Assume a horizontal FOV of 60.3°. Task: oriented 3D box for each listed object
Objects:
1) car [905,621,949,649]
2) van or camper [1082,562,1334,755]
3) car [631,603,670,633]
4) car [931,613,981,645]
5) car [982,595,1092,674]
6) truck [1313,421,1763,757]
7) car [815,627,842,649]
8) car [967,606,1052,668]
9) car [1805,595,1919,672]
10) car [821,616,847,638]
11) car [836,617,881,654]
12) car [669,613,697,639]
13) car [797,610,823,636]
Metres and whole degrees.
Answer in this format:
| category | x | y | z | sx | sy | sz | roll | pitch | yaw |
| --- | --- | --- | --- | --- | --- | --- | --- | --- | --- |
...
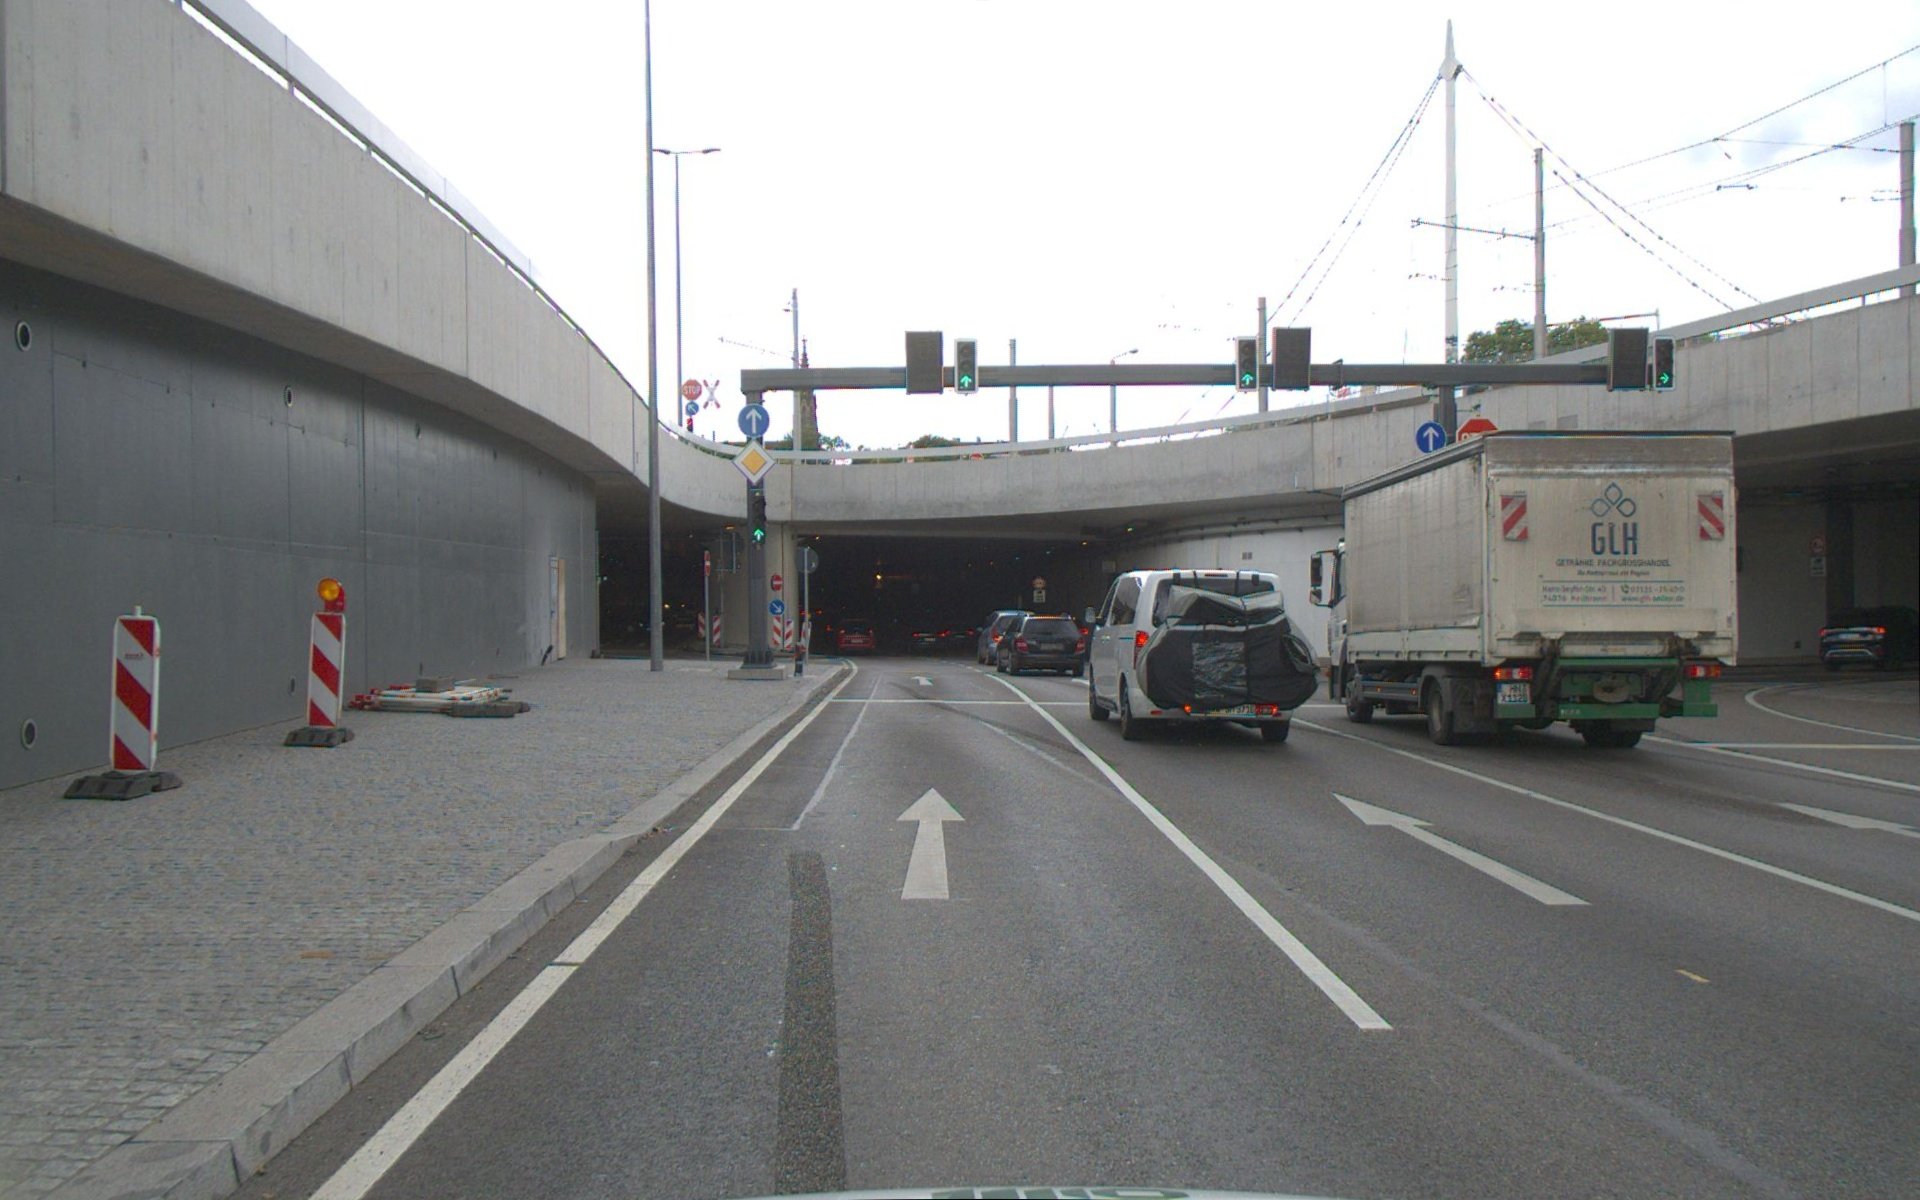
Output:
| category | x | y | z | sx | sy | sz | roll | pitch | yaw |
| --- | --- | --- | --- | --- | --- | --- | --- | --- | --- |
| car | -1.550 | 1.612 | 76.788 | 1.632 | 1.269 | 3.560 | 0 | -1 | -8 |
| van or camper | 2.677 | 0.575 | 19.213 | 1.953 | 1.877 | 5.506 | 1 | 0 | -1 |
| car | -15.860 | 0.878 | 84.600 | 1.637 | 1.466 | 4.096 | 0 | 0 | -15 |
| car | -0.262 | 1.567 | 90.113 | 1.954 | 1.705 | 4.496 | 0 | -1 | -10 |
| car | 1.750 | 0.786 | 38.881 | 1.785 | 1.713 | 3.991 | 1 | -1 | -9 |
| truck | 6.390 | -0.114 | 19.705 | 2.596 | 3.241 | 7.424 | 0 | 0 | -2 |
| car | -7.938 | 2.267 | 99.692 | 1.480 | 1.269 | 3.560 | 0 | -1 | -8 |
| car | 1.421 | 1.064 | 48.777 | 1.785 | 1.608 | 3.993 | 4 | 0 | -8 |
| car | 23.124 | 0.800 | 41.237 | 3.947 | 1.616 | 1.814 | -4 | 2 | -31 |
| car | -11.295 | 2.379 | 147.803 | 1.957 | 1.804 | 3.991 | 0 | 1 | -9 |
| car | -4.264 | 1.476 | 69.165 | 1.629 | 1.514 | 3.560 | 0 | -1 | -8 |
| car | -18.726 | 1.755 | 111.955 | 1.774 | 1.632 | 4.778 | 0 | 1 | -8 |
| car | -12.416 | 1.858 | 136.738 | 1.956 | 2.049 | 3.994 | 0 | 1 | -7 |
